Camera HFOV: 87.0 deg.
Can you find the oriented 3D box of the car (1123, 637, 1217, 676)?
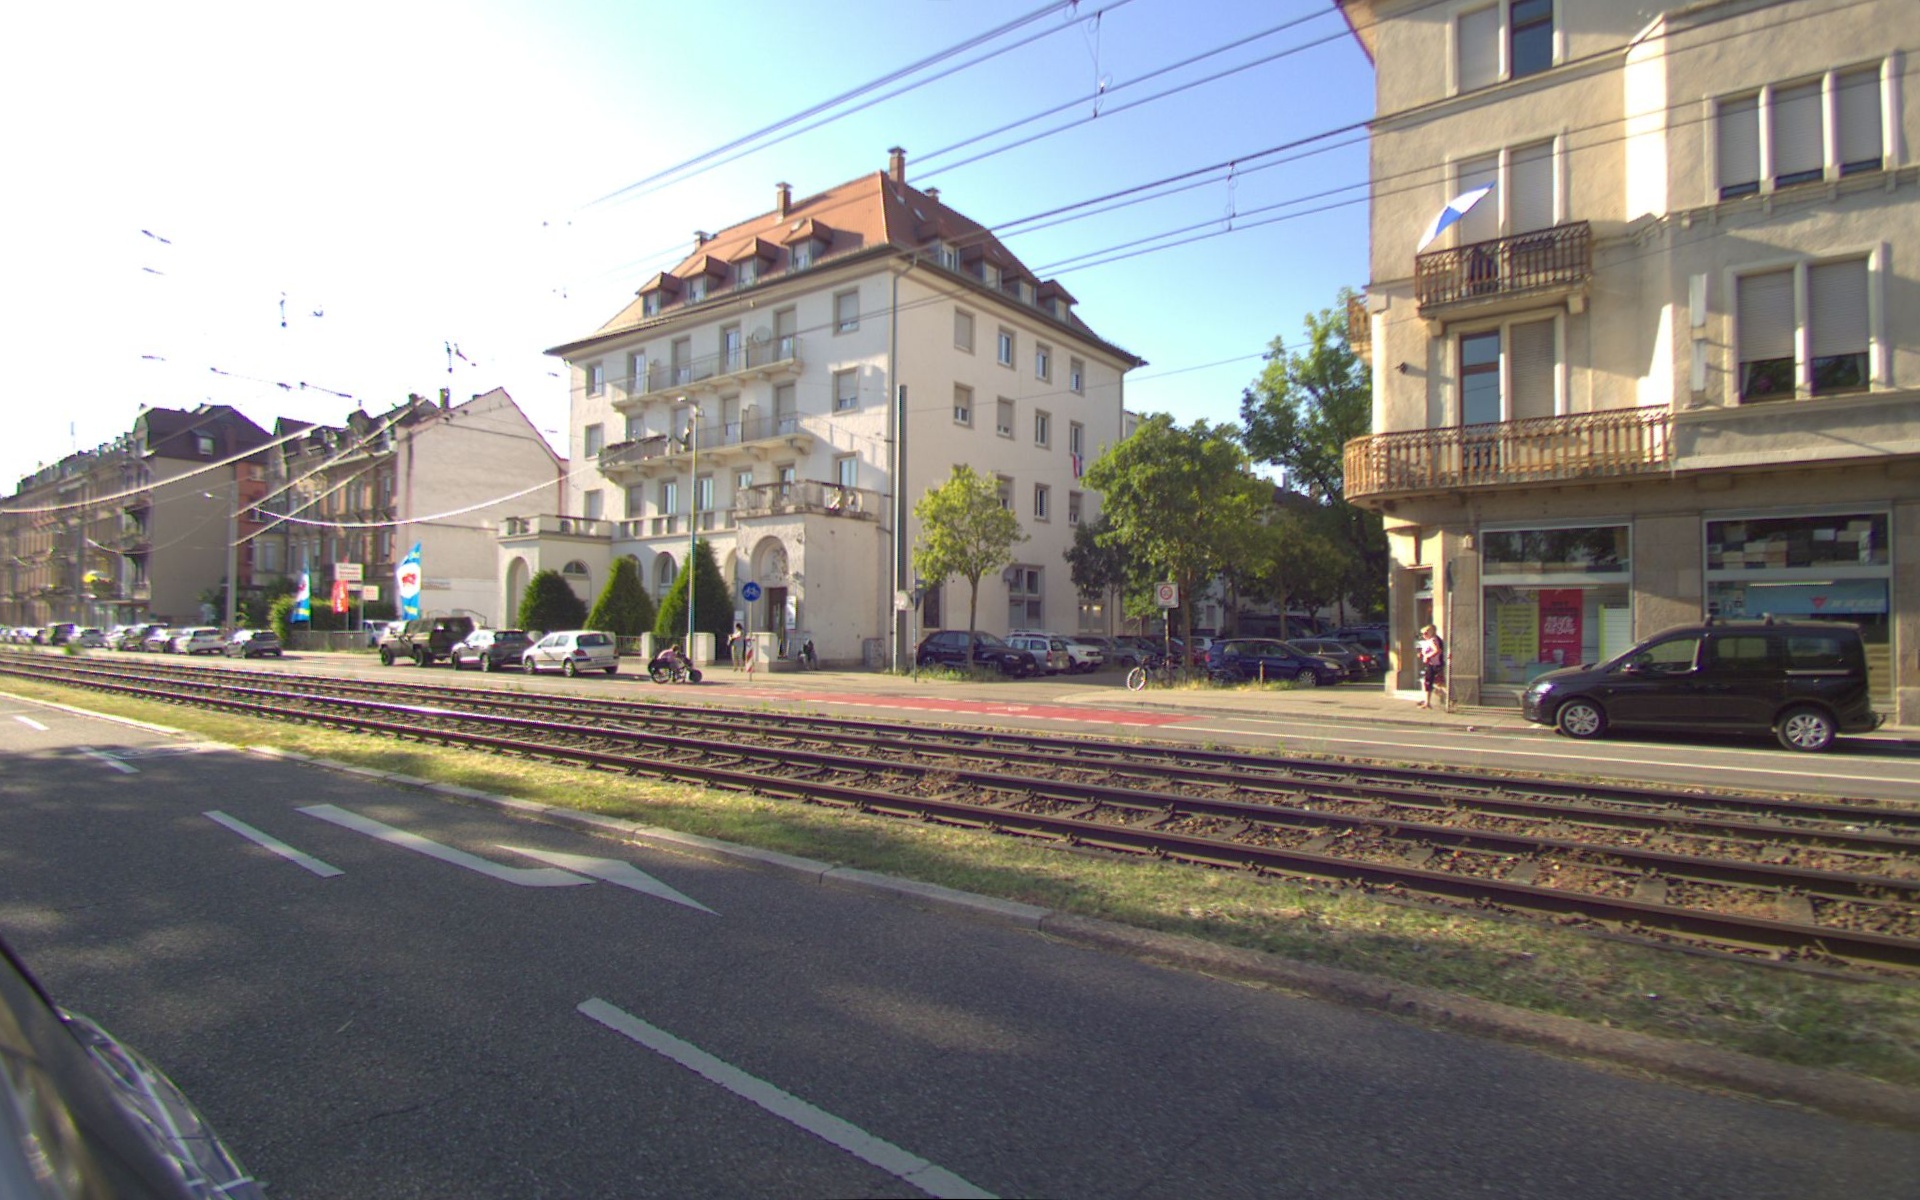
[{"bbox_3d":[9.933,2.636,48.076,3.994,1.671,1.777,0,-2,38],"label":"car"}]

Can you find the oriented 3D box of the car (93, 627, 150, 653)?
[{"bbox_3d":[-58.408,2.773,70.511,4.616,1.696,1.904,-3,-4,35],"label":"car"}]

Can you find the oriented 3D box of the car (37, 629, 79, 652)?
[{"bbox_3d":[-73.605,3.267,82.580,4.720,1.821,1.644,-1,-1,37],"label":"car"}]

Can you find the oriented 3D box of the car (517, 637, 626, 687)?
[{"bbox_3d":[-13.437,2.085,34.895,3.996,1.522,1.776,-1,-1,40],"label":"car"}]

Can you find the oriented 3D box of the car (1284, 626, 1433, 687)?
[{"bbox_3d":[14.965,2.092,38.146,4.887,2.056,2.040,0,-2,36],"label":"car"}]

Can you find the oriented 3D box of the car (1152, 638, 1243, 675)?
[{"bbox_3d":[11.618,2.747,49.644,3.994,1.671,1.777,0,-2,38],"label":"car"}]

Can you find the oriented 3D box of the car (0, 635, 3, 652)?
[{"bbox_3d":[-97.713,4.359,101.677,4.627,1.655,1.776,-2,-1,41],"label":"car"}]

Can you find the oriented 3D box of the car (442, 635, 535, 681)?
[{"bbox_3d":[-17.871,2.155,38.307,4.156,1.519,1.618,-1,0,40],"label":"car"}]

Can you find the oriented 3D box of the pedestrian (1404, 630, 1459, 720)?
[{"bbox_3d":[9.306,1.453,19.993,0.857,1.709,0.583,-1,-1,40],"label":"pedestrian"}]

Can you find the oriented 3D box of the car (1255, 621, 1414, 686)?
[{"bbox_3d":[13.195,1.850,35.788,4.887,2.056,2.040,0,-2,36],"label":"car"}]

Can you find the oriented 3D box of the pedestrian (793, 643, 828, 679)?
[{"bbox_3d":[-5.263,2.149,35.593,0.892,1.196,0.870,-1,-1,30],"label":"pedestrian"}]

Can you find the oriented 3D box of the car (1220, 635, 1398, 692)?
[{"bbox_3d":[10.903,1.944,31.793,4.889,1.522,2.039,0,-2,38],"label":"car"}]

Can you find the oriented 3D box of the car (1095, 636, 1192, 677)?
[{"bbox_3d":[8.307,2.531,45.979,3.994,1.671,1.777,0,-2,38],"label":"car"}]

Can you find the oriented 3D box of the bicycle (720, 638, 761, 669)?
[{"bbox_3d":[-8.265,2.009,38.061,1.619,1.096,0.460,-1,-1,31],"label":"bicycle"}]

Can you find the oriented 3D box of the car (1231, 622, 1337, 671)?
[{"bbox_3d":[19.113,2.717,59.799,5.586,2.705,2.251,0,-2,35],"label":"car"}]

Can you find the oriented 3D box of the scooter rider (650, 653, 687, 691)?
[{"bbox_3d":[-8.685,2.145,30.126,0.962,1.097,0.810,2,-3,-21],"label":"scooter rider"}]

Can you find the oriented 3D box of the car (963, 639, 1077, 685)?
[{"bbox_3d":[2.241,2.313,38.134,3.994,1.522,1.777,0,-2,38],"label":"car"}]

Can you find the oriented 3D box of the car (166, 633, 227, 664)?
[{"bbox_3d":[-45.325,2.845,60.012,4.838,1.707,1.901,-2,-2,40],"label":"car"}]

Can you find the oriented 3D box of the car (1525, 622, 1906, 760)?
[{"bbox_3d":[11.311,1.287,15.497,4.394,1.800,1.845,-2,-1,37],"label":"car"}]

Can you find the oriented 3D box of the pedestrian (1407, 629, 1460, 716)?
[{"bbox_3d":[9.646,1.454,20.620,0.857,1.709,0.583,-1,-1,40],"label":"pedestrian"}]

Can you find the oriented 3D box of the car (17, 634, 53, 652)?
[{"bbox_3d":[-78.368,3.602,85.759,3.975,1.457,1.644,-2,-1,38],"label":"car"}]

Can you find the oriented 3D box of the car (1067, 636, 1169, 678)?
[{"bbox_3d":[6.821,2.444,43.853,3.994,1.671,1.777,0,-2,38],"label":"car"}]

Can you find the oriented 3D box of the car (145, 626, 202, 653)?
[{"bbox_3d":[-49.522,2.483,63.682,4.838,1.572,1.901,-2,-2,40],"label":"car"}]

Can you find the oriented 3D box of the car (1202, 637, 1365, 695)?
[{"bbox_3d":[9.375,1.865,29.436,4.230,1.475,1.760,0,0,31],"label":"car"}]

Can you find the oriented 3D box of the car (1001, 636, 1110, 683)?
[{"bbox_3d":[3.777,2.337,40.298,3.994,1.671,1.777,0,-2,38],"label":"car"}]

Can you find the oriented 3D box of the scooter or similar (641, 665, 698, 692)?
[{"bbox_3d":[-8.650,2.329,30.134,1.542,0.776,0.810,2,-3,-21],"label":"scooter or similar"}]

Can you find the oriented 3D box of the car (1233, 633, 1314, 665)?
[{"bbox_3d":[17.664,2.756,57.078,3.994,1.671,1.777,0,-2,38],"label":"car"}]

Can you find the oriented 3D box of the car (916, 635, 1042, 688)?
[{"bbox_3d":[0.646,2.137,35.925,4.256,1.653,1.777,0,-2,38],"label":"car"}]

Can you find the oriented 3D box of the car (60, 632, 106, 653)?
[{"bbox_3d":[-68.299,3.260,78.776,4.621,1.550,1.902,-1,-2,38],"label":"car"}]

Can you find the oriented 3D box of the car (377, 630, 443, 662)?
[{"bbox_3d":[-32.031,2.680,58.883,4.561,1.668,1.884,0,-2,42],"label":"car"}]

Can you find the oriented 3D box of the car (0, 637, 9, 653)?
[{"bbox_3d":[-94.159,4.390,98.657,3.760,1.457,1.644,-2,-1,38],"label":"car"}]

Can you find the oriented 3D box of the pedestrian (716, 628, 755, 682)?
[{"bbox_3d":[-7.730,1.885,34.914,0.929,1.791,0.987,0,-1,24],"label":"pedestrian"}]

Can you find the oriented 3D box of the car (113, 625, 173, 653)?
[{"bbox_3d":[-54.428,2.588,67.437,4.486,1.794,1.905,-2,-2,34],"label":"car"}]

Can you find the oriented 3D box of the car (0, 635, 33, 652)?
[{"bbox_3d":[-86.475,3.961,92.751,3.975,1.457,1.644,-2,-1,38],"label":"car"}]

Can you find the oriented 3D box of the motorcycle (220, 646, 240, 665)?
[{"bbox_3d":[-41.442,3.118,57.438,0.815,0.961,2.156,0,0,-38],"label":"motorcycle"}]

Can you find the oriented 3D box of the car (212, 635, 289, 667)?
[{"bbox_3d":[-38.034,2.709,54.215,4.833,1.471,1.904,-2,2,37],"label":"car"}]

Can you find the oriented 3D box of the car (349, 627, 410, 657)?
[{"bbox_3d":[-36.246,2.628,63.124,4.561,1.668,1.884,0,-2,42],"label":"car"}]

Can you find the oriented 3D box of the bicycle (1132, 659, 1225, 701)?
[{"bbox_3d":[5.873,2.137,27.292,2.411,1.023,0.677,-2,-2,41],"label":"bicycle"}]

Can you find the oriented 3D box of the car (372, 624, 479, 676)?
[{"bbox_3d":[-22.487,2.046,42.487,5.587,2.025,2.056,-2,-1,40],"label":"car"}]
